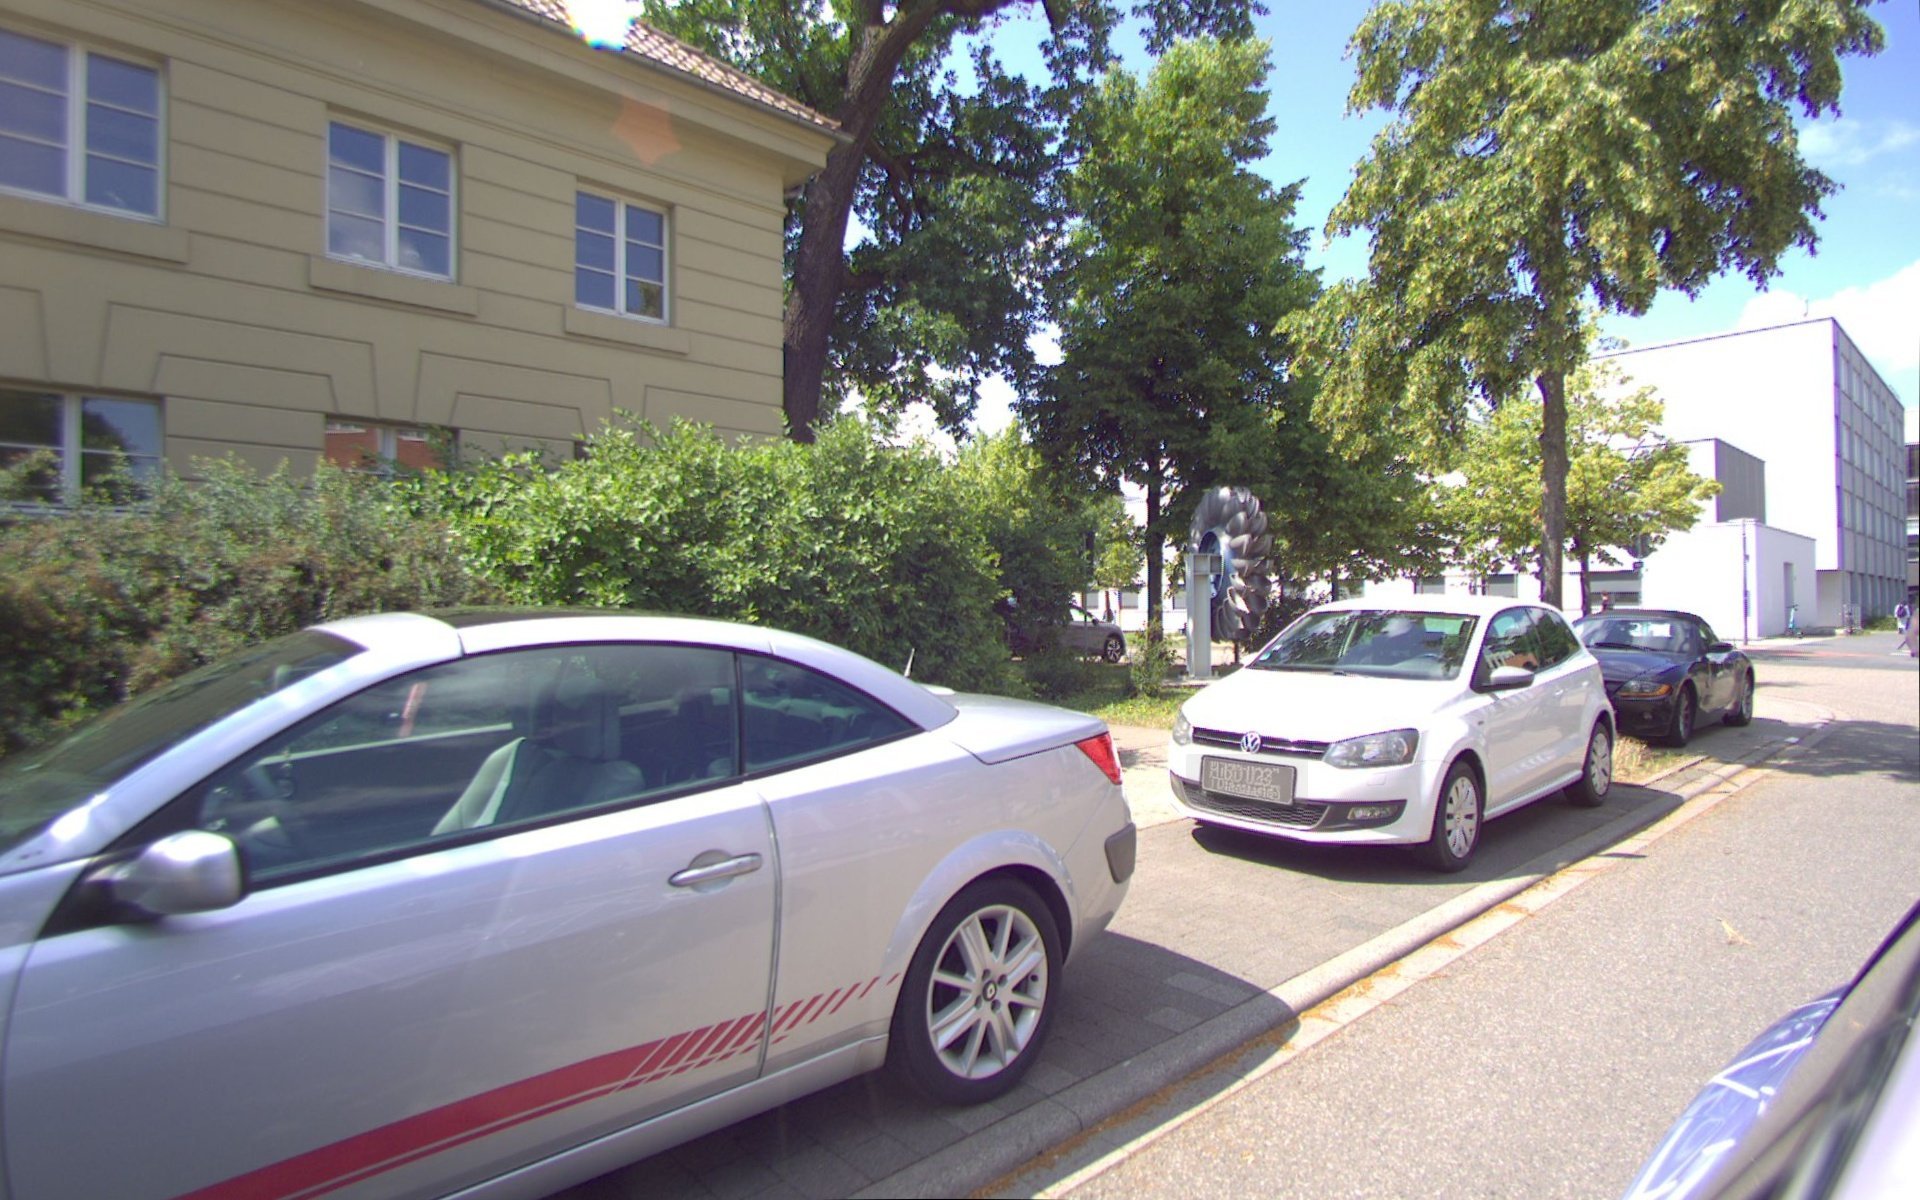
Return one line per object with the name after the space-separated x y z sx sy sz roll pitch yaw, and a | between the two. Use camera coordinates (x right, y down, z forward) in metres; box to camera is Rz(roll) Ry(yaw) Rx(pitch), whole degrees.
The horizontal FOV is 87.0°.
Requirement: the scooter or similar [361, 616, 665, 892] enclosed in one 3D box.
-2.183 0.732 5.065 1.241 1.283 0.597 1 -2 -4 | scooter or similar

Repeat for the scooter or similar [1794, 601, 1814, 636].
31.076 0.668 37.251 1.054 1.252 0.326 0 -2 -39 | scooter or similar

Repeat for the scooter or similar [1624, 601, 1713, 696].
10.099 0.666 14.420 1.355 1.270 0.554 -1 -1 -34 | scooter or similar

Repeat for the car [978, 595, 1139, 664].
2.671 0.773 26.752 4.289 1.673 1.890 1 -2 -44 | car

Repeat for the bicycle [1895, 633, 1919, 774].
8.532 0.831 8.526 2.098 1.086 0.674 0 -1 -40 | bicycle

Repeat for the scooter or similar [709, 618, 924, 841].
-0.882 0.745 6.290 1.212 1.237 0.522 0 -1 -32 | scooter or similar

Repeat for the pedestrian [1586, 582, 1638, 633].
23.591 0.257 36.625 1.000 1.823 1.174 1 0 -13 | pedestrian

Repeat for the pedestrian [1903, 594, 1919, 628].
42.256 0.489 44.861 0.688 1.457 0.525 0 -2 -39 | pedestrian

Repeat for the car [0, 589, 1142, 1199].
-1.377 0.695 2.629 3.921 1.408 1.648 1 -1 -43 | car

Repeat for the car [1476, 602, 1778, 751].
7.296 0.698 10.931 3.930 1.297 1.710 0 -1 -41 | car

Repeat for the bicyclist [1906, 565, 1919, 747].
8.501 0.442 8.484 1.044 1.497 0.674 -2 0 -40 | bicyclist

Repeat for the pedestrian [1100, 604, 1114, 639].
7.746 1.133 53.274 0.699 1.792 0.828 -1 -1 8 | pedestrian

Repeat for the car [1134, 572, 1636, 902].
2.928 0.608 6.505 3.923 1.485 1.588 0 0 -44 | car
